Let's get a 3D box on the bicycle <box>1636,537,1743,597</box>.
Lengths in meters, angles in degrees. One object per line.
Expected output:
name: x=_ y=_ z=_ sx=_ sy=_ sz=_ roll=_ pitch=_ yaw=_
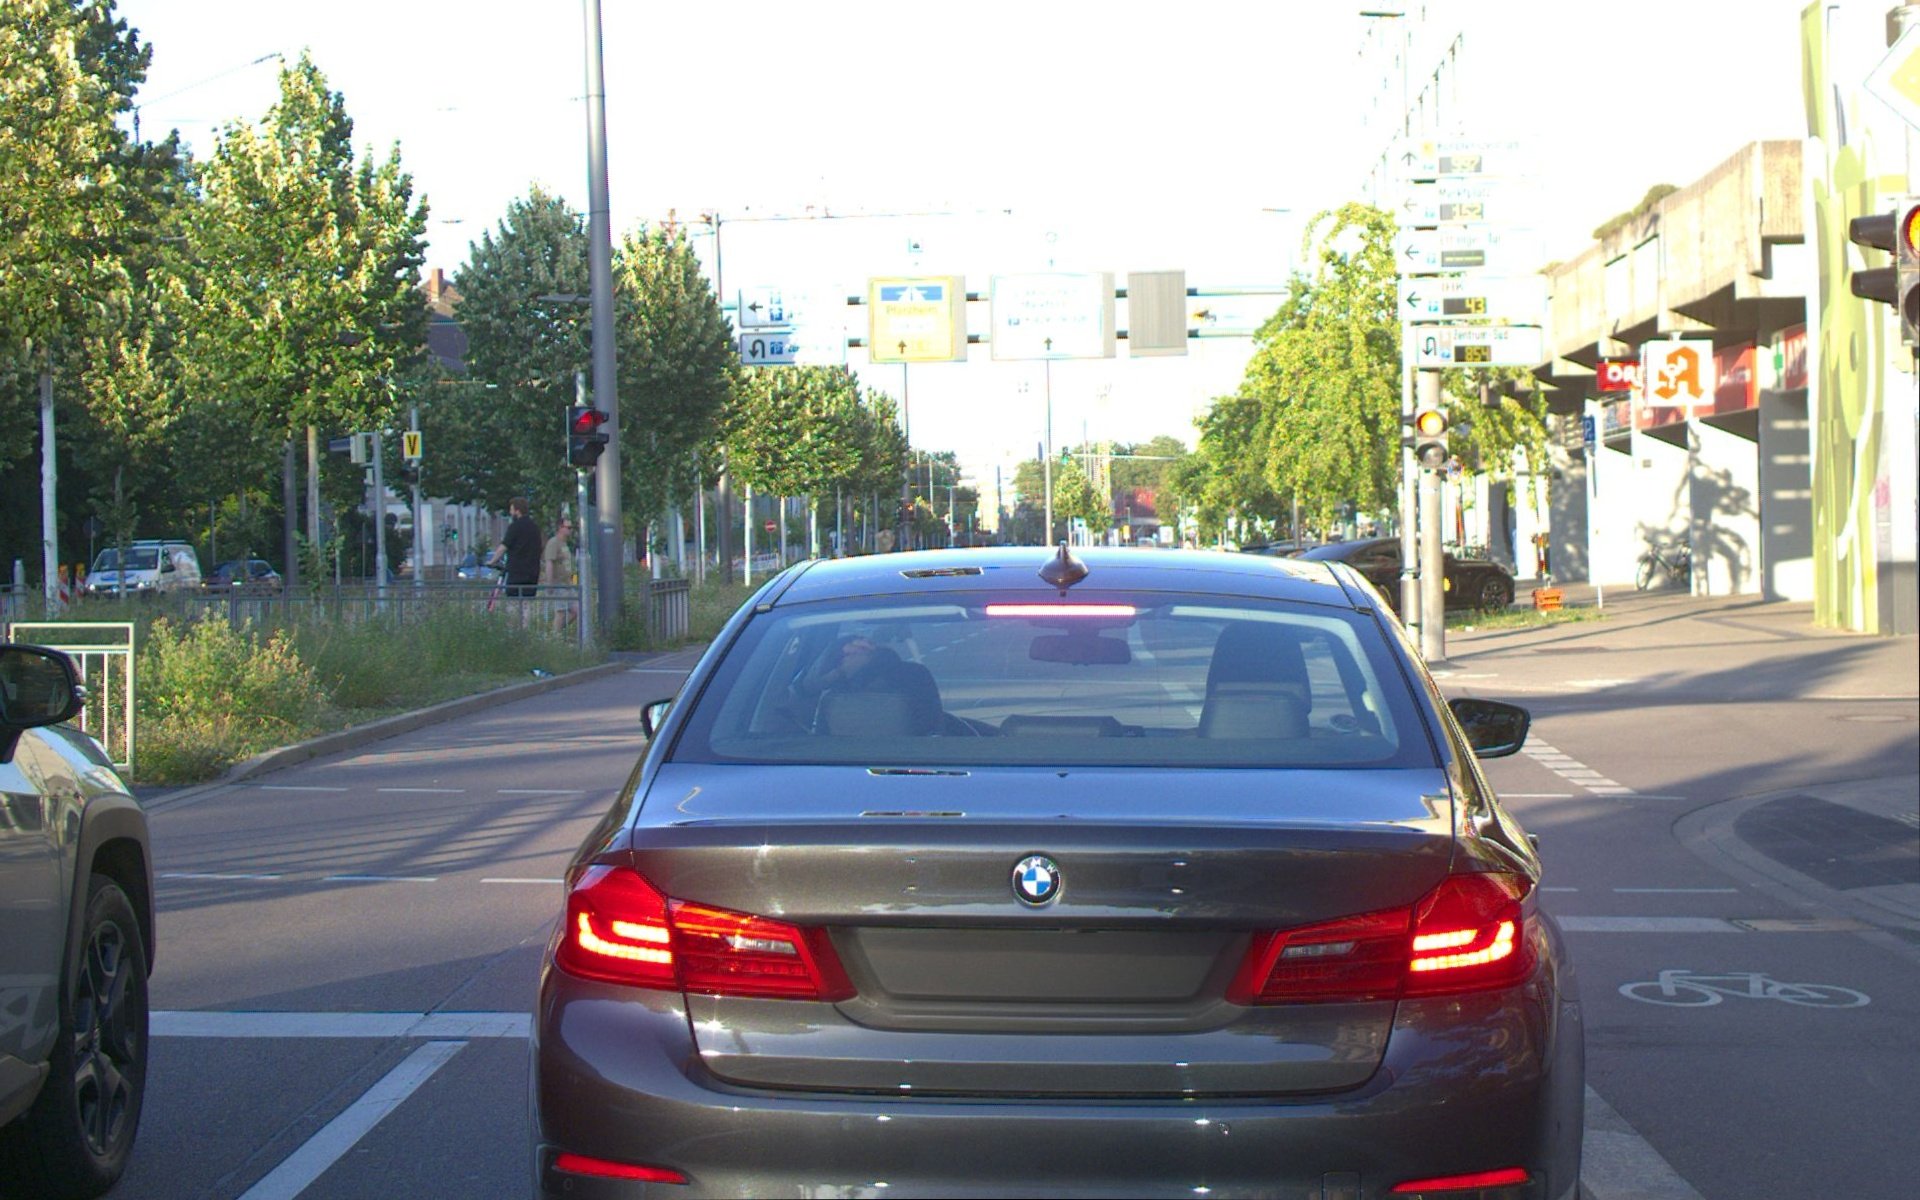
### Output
bicycle: x=14.736 y=-0.667 z=69.465 sx=2.017 sy=1.145 sz=0.690 roll=2 pitch=0 yaw=7

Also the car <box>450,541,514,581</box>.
car: x=-18.217 y=-1.489 z=131.140 sx=1.800 sy=1.476 sz=3.783 roll=-1 pitch=1 yaw=1

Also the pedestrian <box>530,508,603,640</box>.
pedestrian: x=-5.151 y=-0.342 z=45.035 sx=0.835 sy=1.706 sz=0.648 roll=-1 pitch=1 yaw=0

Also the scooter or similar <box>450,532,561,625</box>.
scooter or similar: x=-5.783 y=-0.281 z=43.801 sx=1.329 sy=1.149 sz=0.513 roll=-1 pitch=1 yaw=-1

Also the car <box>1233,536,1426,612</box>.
car: x=8.555 y=-0.621 z=79.472 sx=4.255 sy=1.653 sz=1.860 roll=-1 pitch=2 yaw=-34

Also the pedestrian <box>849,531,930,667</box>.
pedestrian: x=-0.833 y=-0.020 z=40.763 sx=0.835 sy=1.581 sz=0.812 roll=-1 pitch=1 yaw=6

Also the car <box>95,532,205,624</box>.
car: x=-20.219 y=-0.574 z=86.004 sx=1.993 sy=2.160 sz=4.752 roll=0 pitch=2 yaw=-5

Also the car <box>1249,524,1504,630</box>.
car: x=6.973 y=-0.417 z=57.378 sx=4.256 sy=1.653 sz=1.860 roll=-2 pitch=3 yaw=-41

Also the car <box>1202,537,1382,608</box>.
car: x=8.293 y=-0.700 z=85.757 sx=4.255 sy=1.653 sz=1.860 roll=-1 pitch=2 yaw=-34

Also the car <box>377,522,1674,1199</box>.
car: x=0.258 y=0.605 z=7.387 sx=1.932 sy=1.476 sz=4.522 roll=0 pitch=2 yaw=5

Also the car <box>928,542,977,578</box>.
car: x=-0.305 y=-1.733 z=147.691 sx=1.979 sy=1.428 sz=4.843 roll=0 pitch=2 yaw=1

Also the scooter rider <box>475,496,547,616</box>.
scooter rider: x=-5.717 y=-0.561 z=43.800 sx=0.820 sy=1.509 sz=0.653 roll=-1 pitch=1 yaw=-1

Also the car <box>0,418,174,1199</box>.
car: x=-2.744 y=0.496 z=6.049 sx=1.854 sy=1.653 sz=4.269 roll=0 pitch=2 yaw=-2
